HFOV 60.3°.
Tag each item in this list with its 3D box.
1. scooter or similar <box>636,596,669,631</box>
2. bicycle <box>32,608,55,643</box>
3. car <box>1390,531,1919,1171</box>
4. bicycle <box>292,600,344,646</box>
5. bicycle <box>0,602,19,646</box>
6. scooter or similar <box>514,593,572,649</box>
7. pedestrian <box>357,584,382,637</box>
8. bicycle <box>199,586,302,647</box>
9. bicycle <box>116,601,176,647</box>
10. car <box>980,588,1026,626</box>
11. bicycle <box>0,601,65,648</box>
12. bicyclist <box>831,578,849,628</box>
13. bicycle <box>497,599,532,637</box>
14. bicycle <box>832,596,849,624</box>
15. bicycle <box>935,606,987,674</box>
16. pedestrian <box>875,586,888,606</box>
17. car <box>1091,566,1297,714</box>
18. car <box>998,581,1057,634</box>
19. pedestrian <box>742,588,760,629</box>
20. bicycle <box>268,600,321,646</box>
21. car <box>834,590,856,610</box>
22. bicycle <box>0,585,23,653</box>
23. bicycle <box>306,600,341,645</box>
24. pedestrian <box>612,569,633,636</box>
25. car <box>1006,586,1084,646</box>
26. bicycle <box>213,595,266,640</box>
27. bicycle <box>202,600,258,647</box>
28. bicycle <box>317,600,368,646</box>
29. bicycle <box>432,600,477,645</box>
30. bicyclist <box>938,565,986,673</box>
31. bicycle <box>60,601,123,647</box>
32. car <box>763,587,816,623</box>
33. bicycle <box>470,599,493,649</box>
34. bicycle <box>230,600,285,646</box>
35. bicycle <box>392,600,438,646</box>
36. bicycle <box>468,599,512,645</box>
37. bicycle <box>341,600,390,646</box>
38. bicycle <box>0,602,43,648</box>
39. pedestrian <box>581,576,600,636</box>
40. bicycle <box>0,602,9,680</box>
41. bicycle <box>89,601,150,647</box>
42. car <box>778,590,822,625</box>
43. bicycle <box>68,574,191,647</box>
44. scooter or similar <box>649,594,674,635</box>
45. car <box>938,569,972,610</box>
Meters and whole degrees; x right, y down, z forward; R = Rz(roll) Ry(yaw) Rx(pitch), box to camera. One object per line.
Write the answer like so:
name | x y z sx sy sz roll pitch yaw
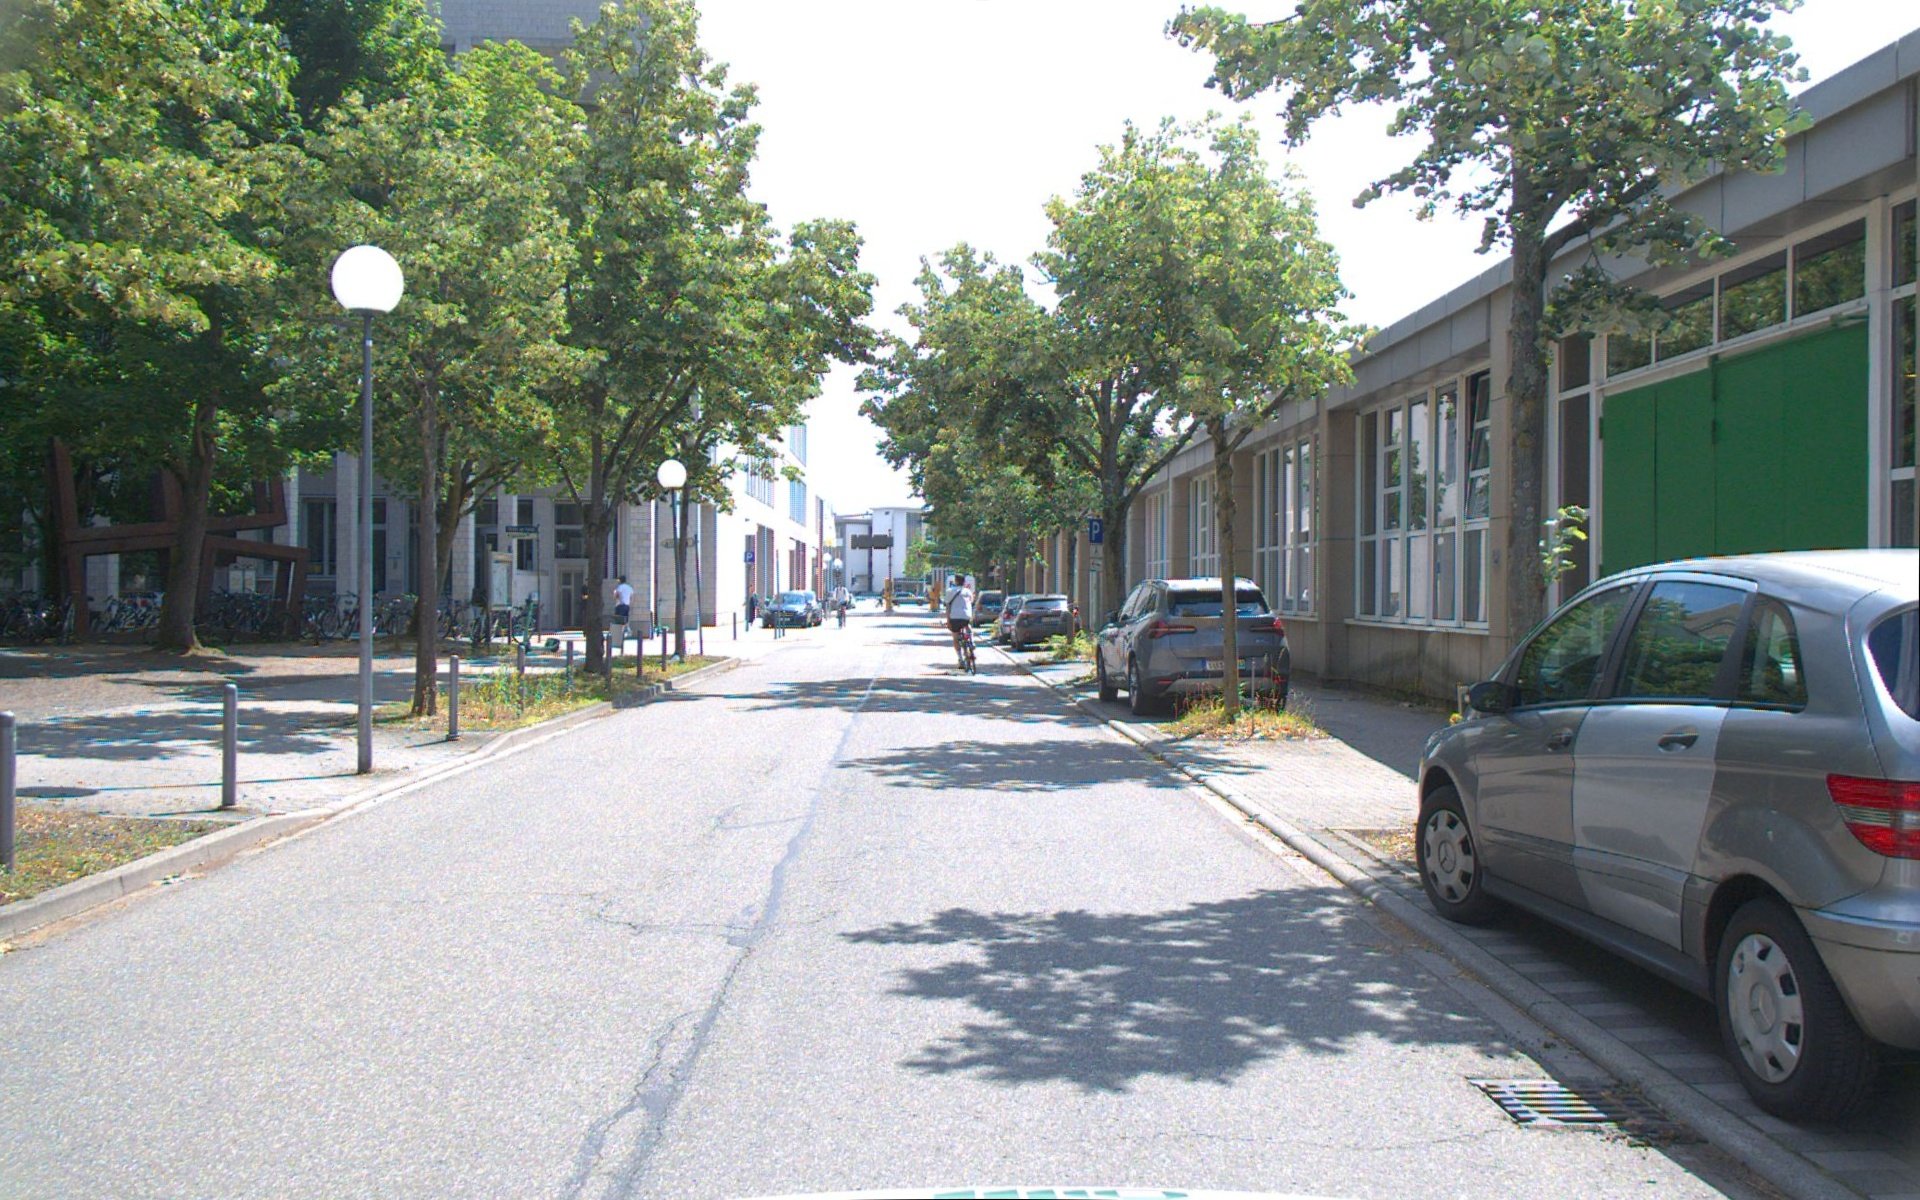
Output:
scooter or similar | -11.004 0.482 59.154 0.521 1.231 1.536 0 0 -39
bicycle | -21.397 0.579 38.591 0.319 0.776 1.541 1 0 -34
car | 3.106 0.603 6.261 1.670 1.601 4.138 -1 0 -3
bicycle | -16.145 0.569 41.652 0.541 1.105 1.972 2 0 -1
bicycle | -24.519 0.612 41.651 0.541 1.105 1.972 2 0 -1
scooter or similar | -9.084 0.454 36.047 0.333 1.196 1.324 1 0 33
pedestrian | -19.025 0.341 53.264 0.627 1.690 0.687 1 0 -33
bicycle | -15.471 0.342 36.076 1.997 1.275 0.580 -1 1 -34
bicycle | -20.377 0.585 41.443 0.541 1.105 1.972 2 0 -1
car | 1.862 0.302 73.210 1.821 1.601 3.999 -1 0 -1
bicycle | -23.224 0.600 41.449 0.541 1.105 1.972 2 0 -1
bicyclist | -5.029 0.112 69.333 0.697 2.049 1.018 -1 0 -4
bicycle | -13.498 0.536 50.163 0.455 1.032 1.865 2 2 2
bicycle | -5.019 0.413 69.443 0.671 1.149 1.887 0 0 -3
bicycle | 0.036 0.742 31.940 0.864 1.220 2.750 1 0 3
pedestrian | -8.553 -0.483 179.829 1.389 2.144 0.994 1 0 -5
car | 2.928 0.486 21.704 1.786 1.693 4.581 -1 -1 -3
car | 2.054 0.222 50.932 1.583 1.565 3.779 0 0 -1
pedestrian | -8.759 0.352 69.233 0.638 1.731 0.887 1 0 -12
bicycle | -16.787 0.575 41.758 0.541 1.105 1.972 2 0 -1
car | -9.277 -0.018 133.850 1.612 1.524 3.727 0 -2 -2
bicycle | -20.003 0.364 32.069 3.060 1.319 0.868 1 0 -45
bicycle | -14.307 0.502 37.202 0.467 0.982 1.651 0 0 -12
pedestrian | -10.089 0.065 49.444 0.408 1.975 0.656 1 0 -30
car | 2.272 0.409 45.209 1.745 1.502 4.460 -1 0 -2
bicycle | -17.007 0.399 39.087 0.466 1.050 1.850 0 0 -1
bicycle | -18.295 0.575 41.474 0.541 1.105 1.972 2 0 -1
bicycle | -15.550 0.567 41.699 0.541 1.105 1.972 2 0 -1
bicycle | -12.783 0.559 41.896 0.541 1.105 1.972 2 0 -1
bicyclist | 0.041 0.360 31.892 0.855 2.049 0.850 1 0 3
bicycle | -21.768 0.593 41.483 0.541 1.105 1.972 2 0 -1
car | -7.024 0.216 68.485 1.730 1.452 4.234 0 0 0
bicycle | -10.265 0.495 35.506 0.375 1.043 1.809 0 0 -13
bicycle | -17.608 0.573 41.509 0.541 1.105 1.972 2 0 -1
bicycle | -13.880 0.572 42.157 0.541 1.105 1.972 2 0 -1
bicycle | -11.846 0.549 41.732 0.541 1.105 1.972 2 0 -1
bicycle | -14.998 0.567 41.782 0.541 1.105 1.972 2 0 -1
bicycle | -23.876 0.606 41.568 0.541 1.105 1.972 2 0 -1
pedestrian | -11.209 0.188 50.177 0.437 1.806 0.446 1 0 -32
bicycle | -14.925 0.576 23.099 2.730 1.105 0.868 1 0 -45
bicycle | -21.151 0.594 41.638 0.541 1.105 1.972 2 0 -1
car | -7.049 0.340 73.289 1.598 1.511 4.177 0 0 -1
bicycle | -17.424 0.219 34.730 2.264 1.475 0.599 0 0 -35
scooter or similar | -9.385 0.443 52.098 0.445 1.245 1.549 0 0 2
car | -0.343 -0.702 108.941 2.042 2.584 4.314 1 0 -2
